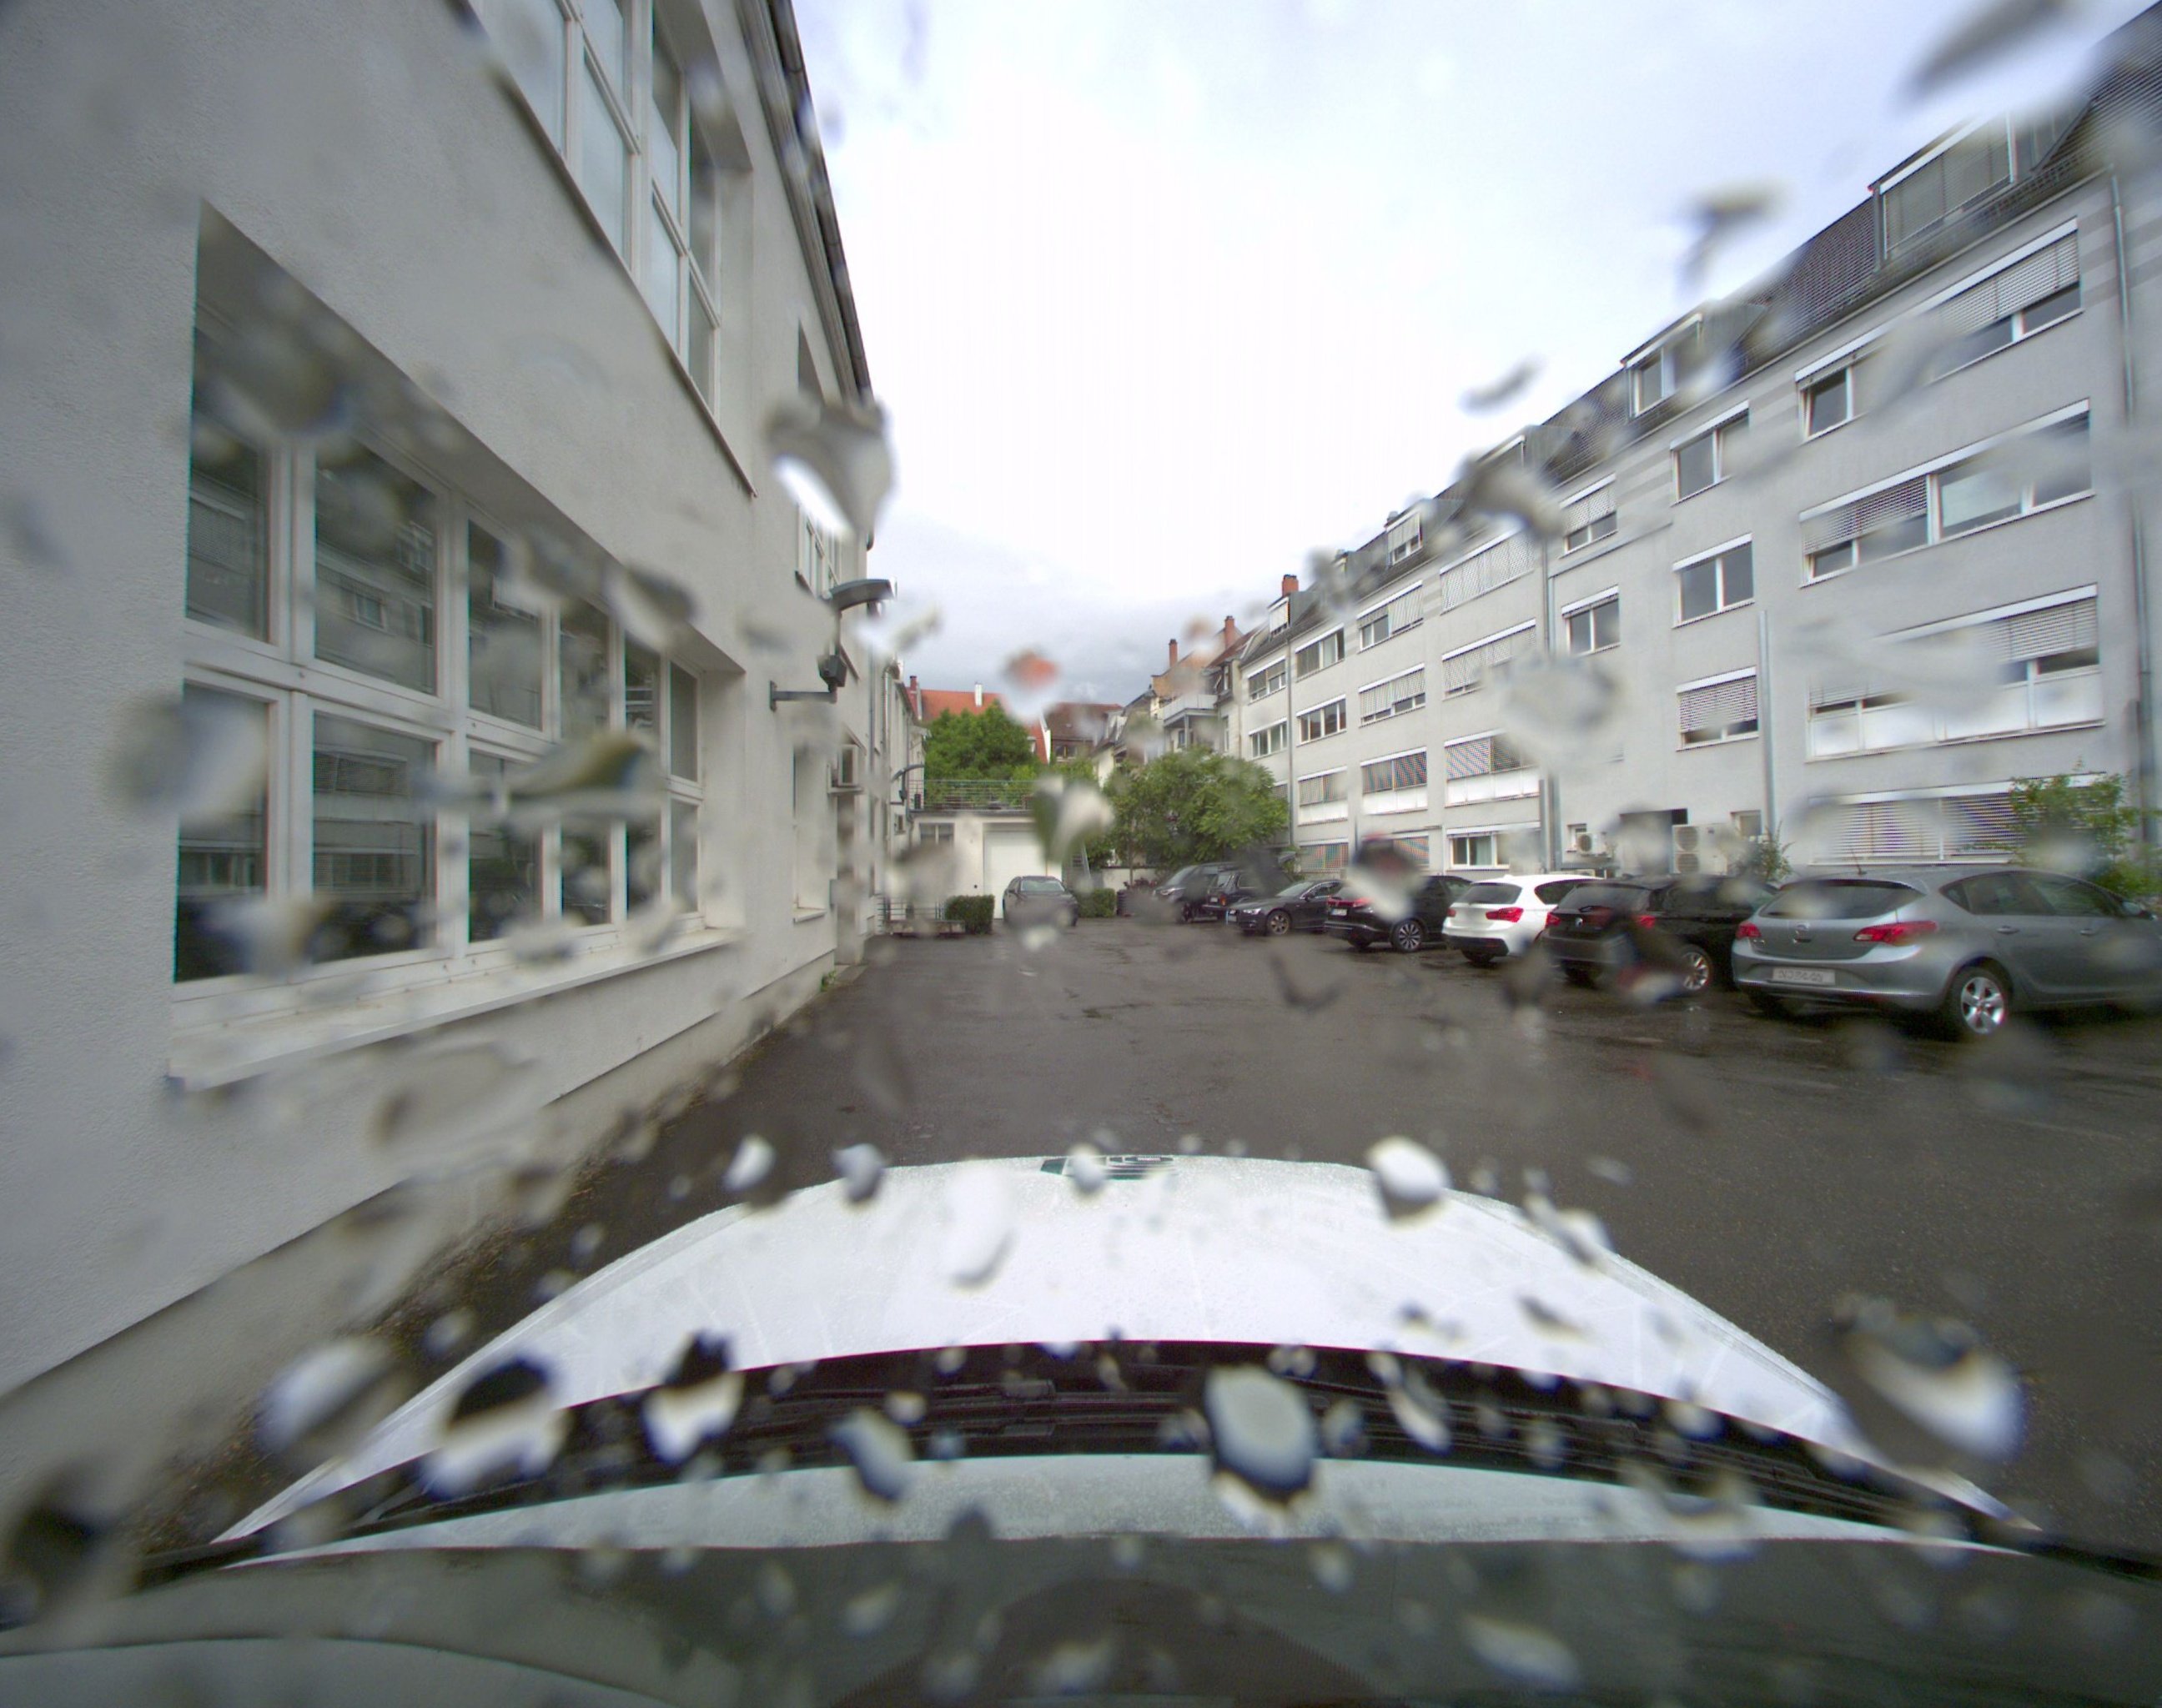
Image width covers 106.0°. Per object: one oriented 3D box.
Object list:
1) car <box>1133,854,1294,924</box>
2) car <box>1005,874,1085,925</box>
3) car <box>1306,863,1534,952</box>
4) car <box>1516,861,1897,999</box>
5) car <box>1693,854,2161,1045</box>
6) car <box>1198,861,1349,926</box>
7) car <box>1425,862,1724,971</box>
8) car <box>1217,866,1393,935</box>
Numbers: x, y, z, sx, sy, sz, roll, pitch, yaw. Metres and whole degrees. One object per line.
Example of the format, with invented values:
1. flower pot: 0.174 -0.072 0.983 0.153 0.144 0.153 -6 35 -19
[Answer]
1. car: 4.271 1.091 26.501 4.649 2.003 2.211 -1 -1 -19
2. car: -1.197 1.342 25.289 1.979 1.444 3.985 0 -1 -10
3. car: 6.731 1.020 16.287 3.917 1.514 1.810 -2 -2 -16
4. car: 8.012 0.886 10.547 3.992 1.403 1.765 -2 -1 -14
5. car: 8.481 0.796 7.946 3.990 1.446 1.799 -2 -1 -12
6. car: 5.608 1.126 23.965 3.909 1.687 1.811 -2 -2 -10
7. car: 7.836 0.933 13.056 3.992 1.458 1.764 -1 -2 -14
8. car: 5.649 1.143 20.682 3.914 1.514 1.744 -2 -2 -14
